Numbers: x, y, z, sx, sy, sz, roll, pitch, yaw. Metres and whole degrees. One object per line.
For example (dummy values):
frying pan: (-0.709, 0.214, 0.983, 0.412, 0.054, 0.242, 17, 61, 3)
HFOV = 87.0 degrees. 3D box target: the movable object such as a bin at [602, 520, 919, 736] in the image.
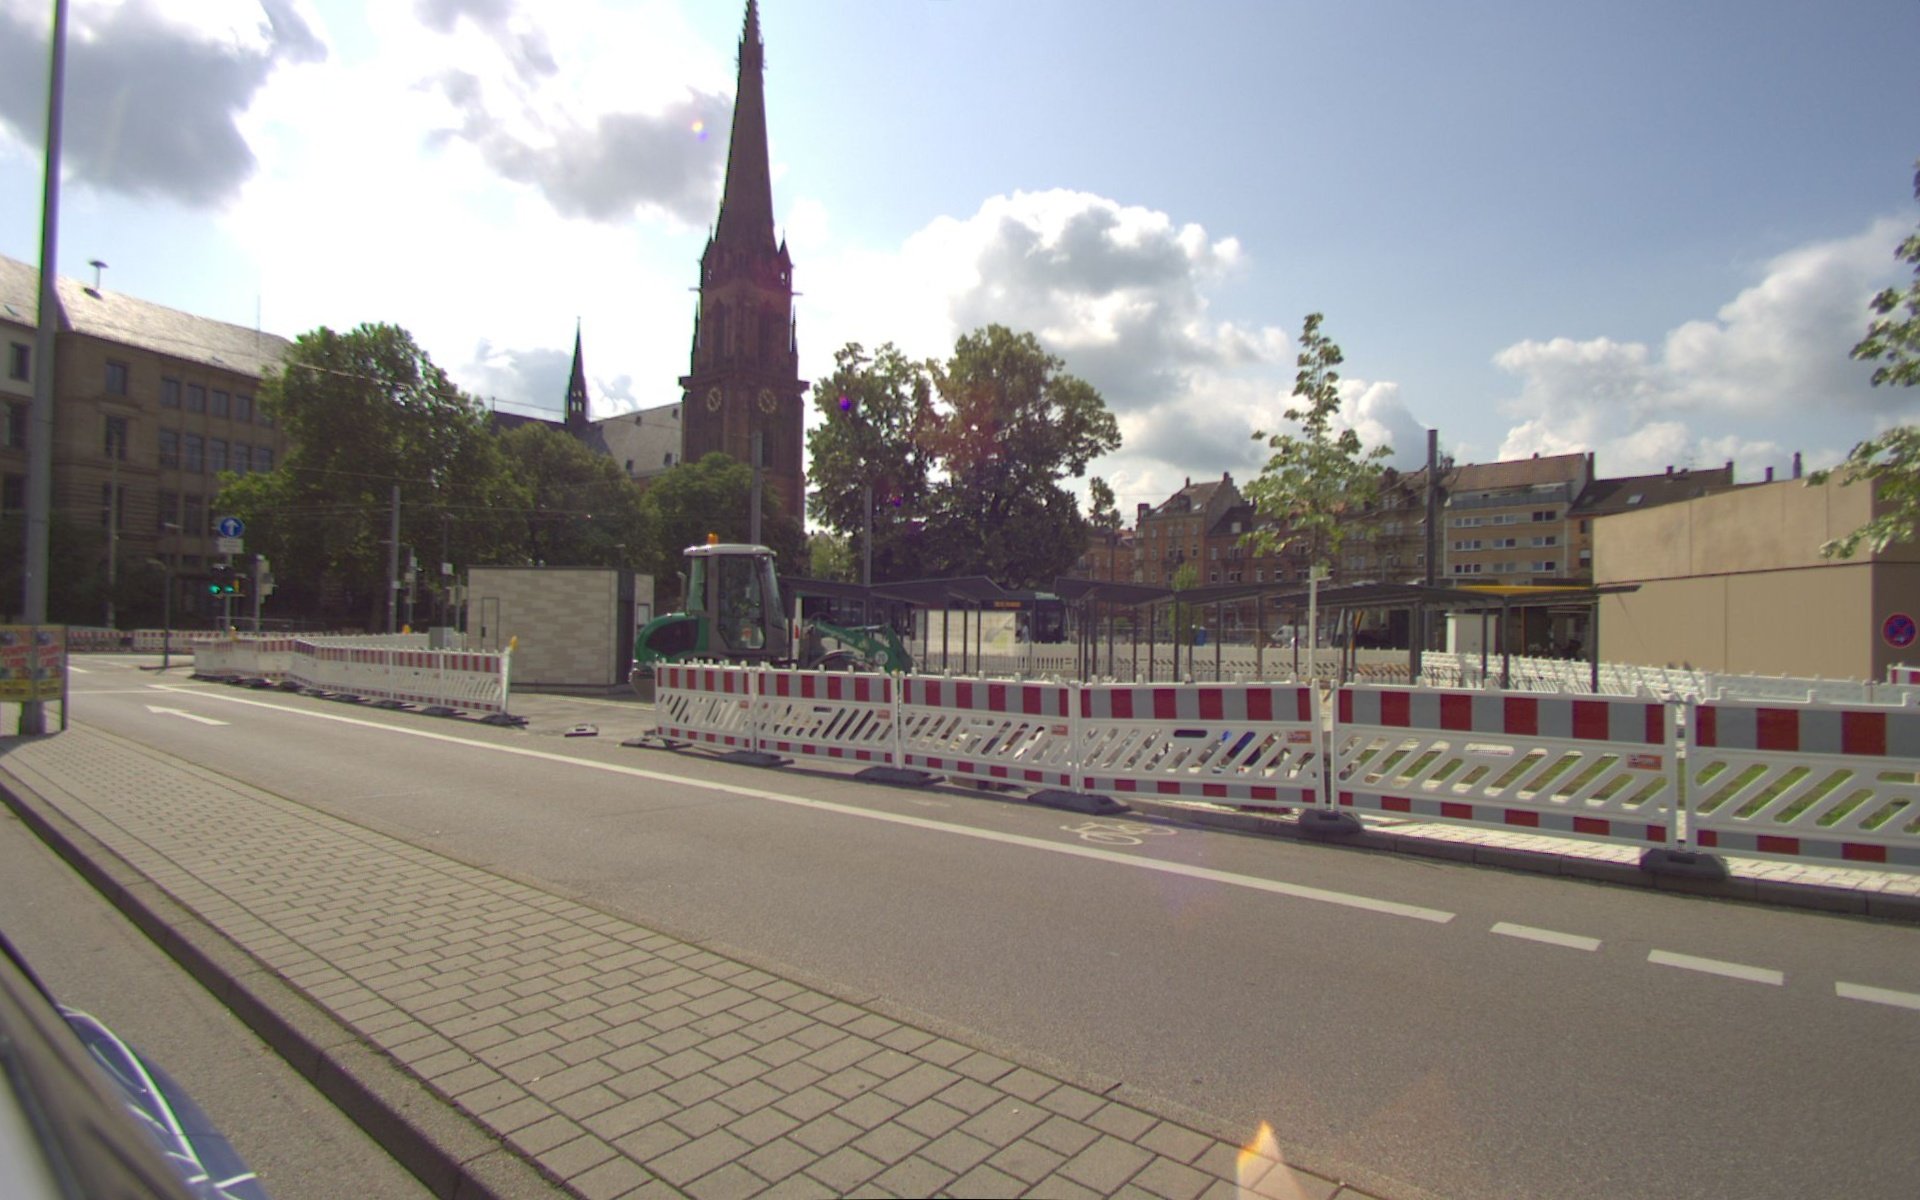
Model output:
movable object such as a bin: (-2.852, 0.435, 15.295, 4.385, 2.972, 2.001, 1, -2, -2)

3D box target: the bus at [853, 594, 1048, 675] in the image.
bus: (-0.308, 1.398, 41.119, 7.667, 3.081, 2.369, 1, -2, 6)

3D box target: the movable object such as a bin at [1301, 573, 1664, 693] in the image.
movable object such as a bin: (15.951, 0.998, 31.667, 9.572, 3.450, 3.014, 0, -2, 8)

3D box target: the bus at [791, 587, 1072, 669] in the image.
bus: (-1.166, 1.212, 44.224, 11.926, 3.287, 2.988, 1, -2, 6)
